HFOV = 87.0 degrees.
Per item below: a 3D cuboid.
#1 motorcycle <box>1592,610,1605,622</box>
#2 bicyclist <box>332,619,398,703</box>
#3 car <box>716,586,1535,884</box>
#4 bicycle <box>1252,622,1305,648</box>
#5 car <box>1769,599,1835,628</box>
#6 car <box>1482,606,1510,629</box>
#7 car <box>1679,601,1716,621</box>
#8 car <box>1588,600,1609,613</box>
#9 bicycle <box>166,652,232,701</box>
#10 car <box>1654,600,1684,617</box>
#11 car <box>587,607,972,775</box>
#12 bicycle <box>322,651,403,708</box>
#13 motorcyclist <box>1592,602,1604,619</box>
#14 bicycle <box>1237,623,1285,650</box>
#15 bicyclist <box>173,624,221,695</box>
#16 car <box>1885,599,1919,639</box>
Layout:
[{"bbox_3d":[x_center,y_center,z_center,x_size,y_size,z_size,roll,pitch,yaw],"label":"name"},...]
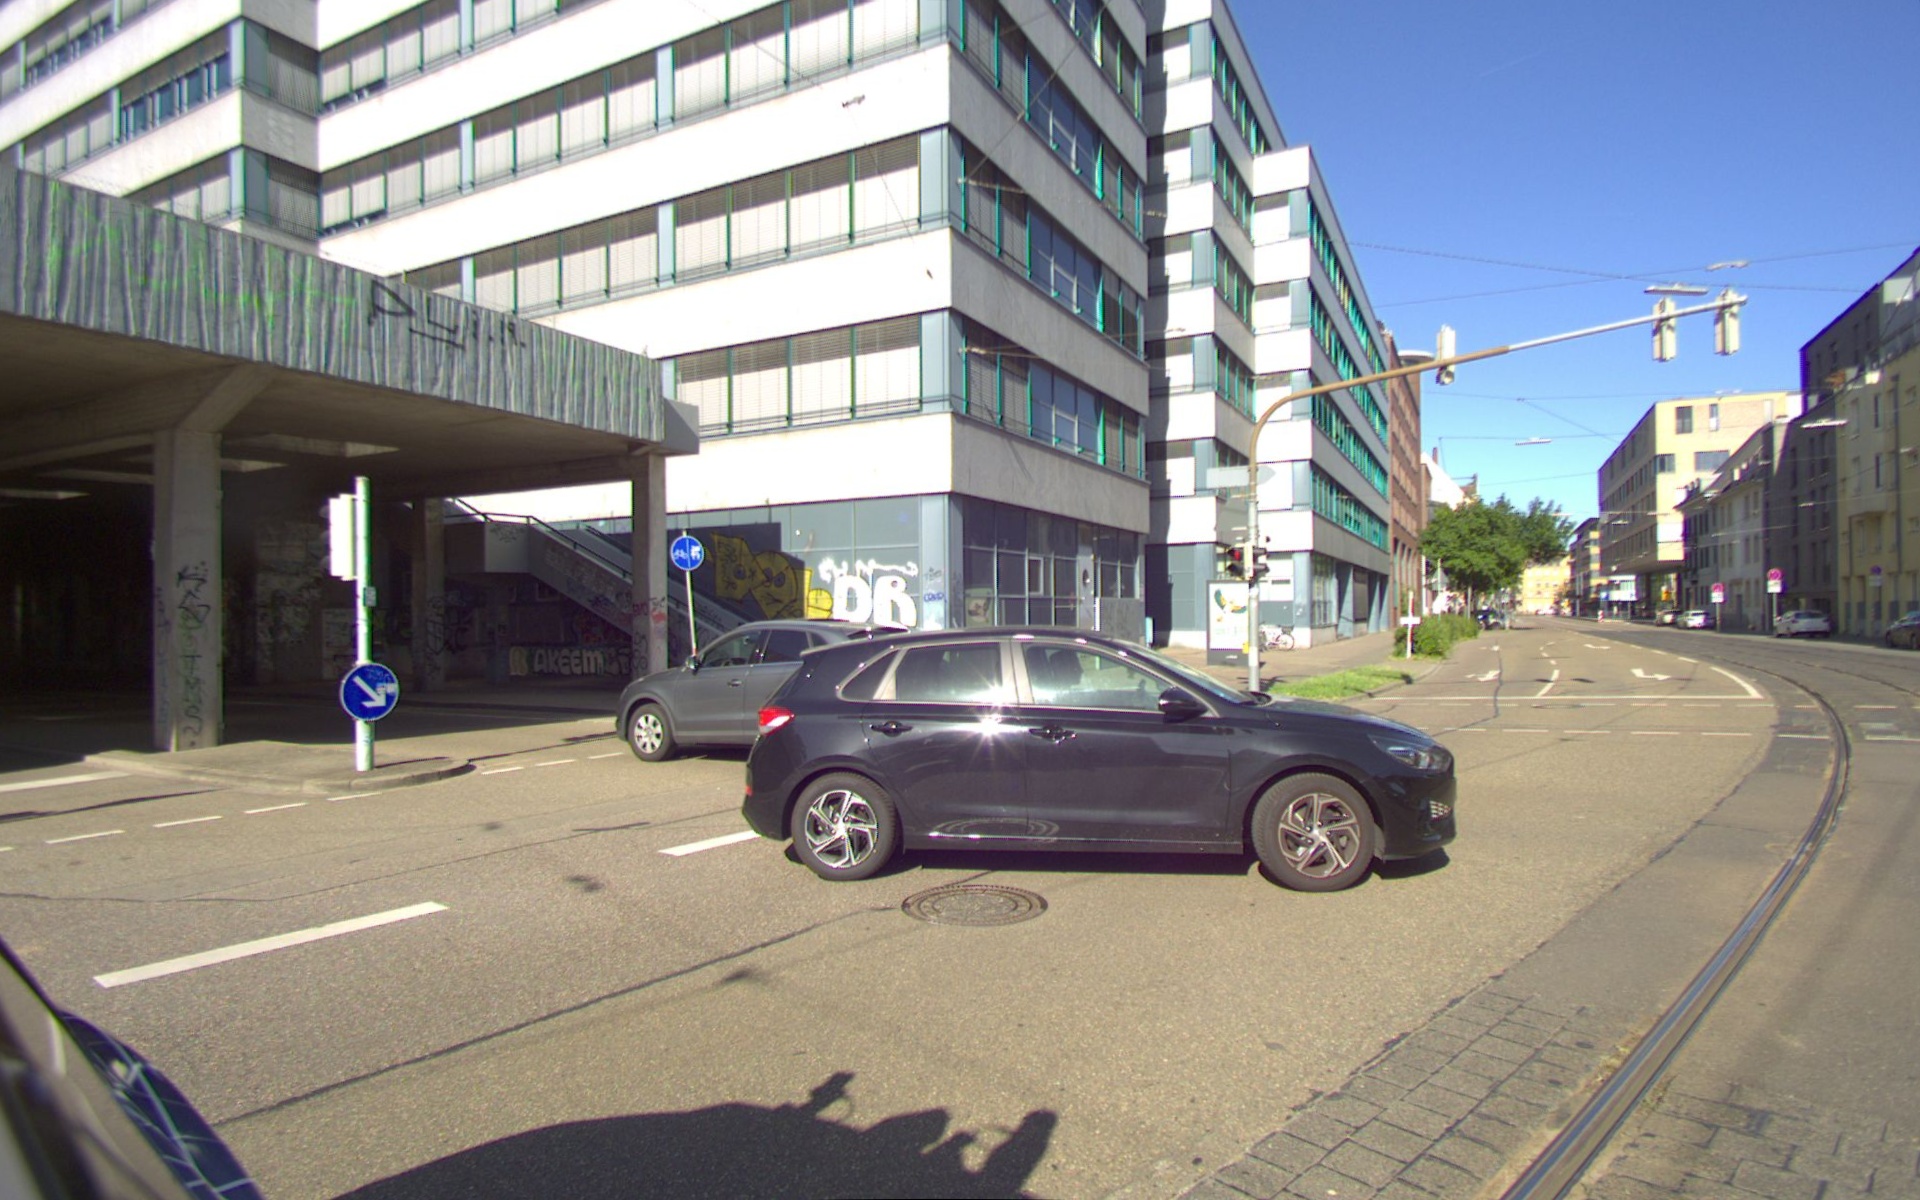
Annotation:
[{"bbox_3d":[72.461,1.816,114.888,0.912,1.242,2.740,-1,-1,24],"label":"motorcycle"},{"bbox_3d":[-12.322,1.243,20.964,1.027,1.673,0.776,-2,-1,30],"label":"bicyclist"},{"bbox_3d":[0.862,0.780,6.304,4.280,1.462,1.800,-2,-3,11],"label":"car"},{"bbox_3d":[12.382,1.345,39.357,1.897,0.988,0.481,-1,0,38],"label":"bicycle"},{"bbox_3d":[43.890,0.692,52.822,1.956,1.373,3.802,-3,-2,30],"label":"car"},{"bbox_3d":[40.204,1.317,75.893,1.773,1.614,3.961,-2,-1,29],"label":"car"},{"bbox_3d":[55.522,0.810,76.259,1.796,1.373,3.675,-3,-2,30],"label":"car"},{"bbox_3d":[73.118,0.715,115.859,1.796,1.373,3.675,-3,-2,30],"label":"car"},{"bbox_3d":[-18.032,1.794,23.971,1.851,1.098,0.522,-2,-1,29],"label":"bicycle"},{"bbox_3d":[62.633,0.748,89.487,1.796,1.339,3.675,-3,-2,30],"label":"car"},{"bbox_3d":[-2.119,0.932,11.654,4.130,1.622,1.872,-2,-1,29],"label":"car"},{"bbox_3d":[-12.430,1.632,21.031,2.050,1.131,0.537,-2,-1,31],"label":"bicycle"},{"bbox_3d":[72.435,1.201,114.867,0.937,1.884,1.047,-1,-1,24],"label":"motorcyclist"},{"bbox_3d":[11.478,1.387,38.621,1.663,0.988,0.481,-1,0,38],"label":"bicycle"},{"bbox_3d":[-18.102,1.392,24.015,0.906,1.645,0.602,-2,-1,28],"label":"bicyclist"},{"bbox_3d":[35.344,0.659,36.589,1.956,1.373,3.802,-3,-2,30],"label":"car"}]
